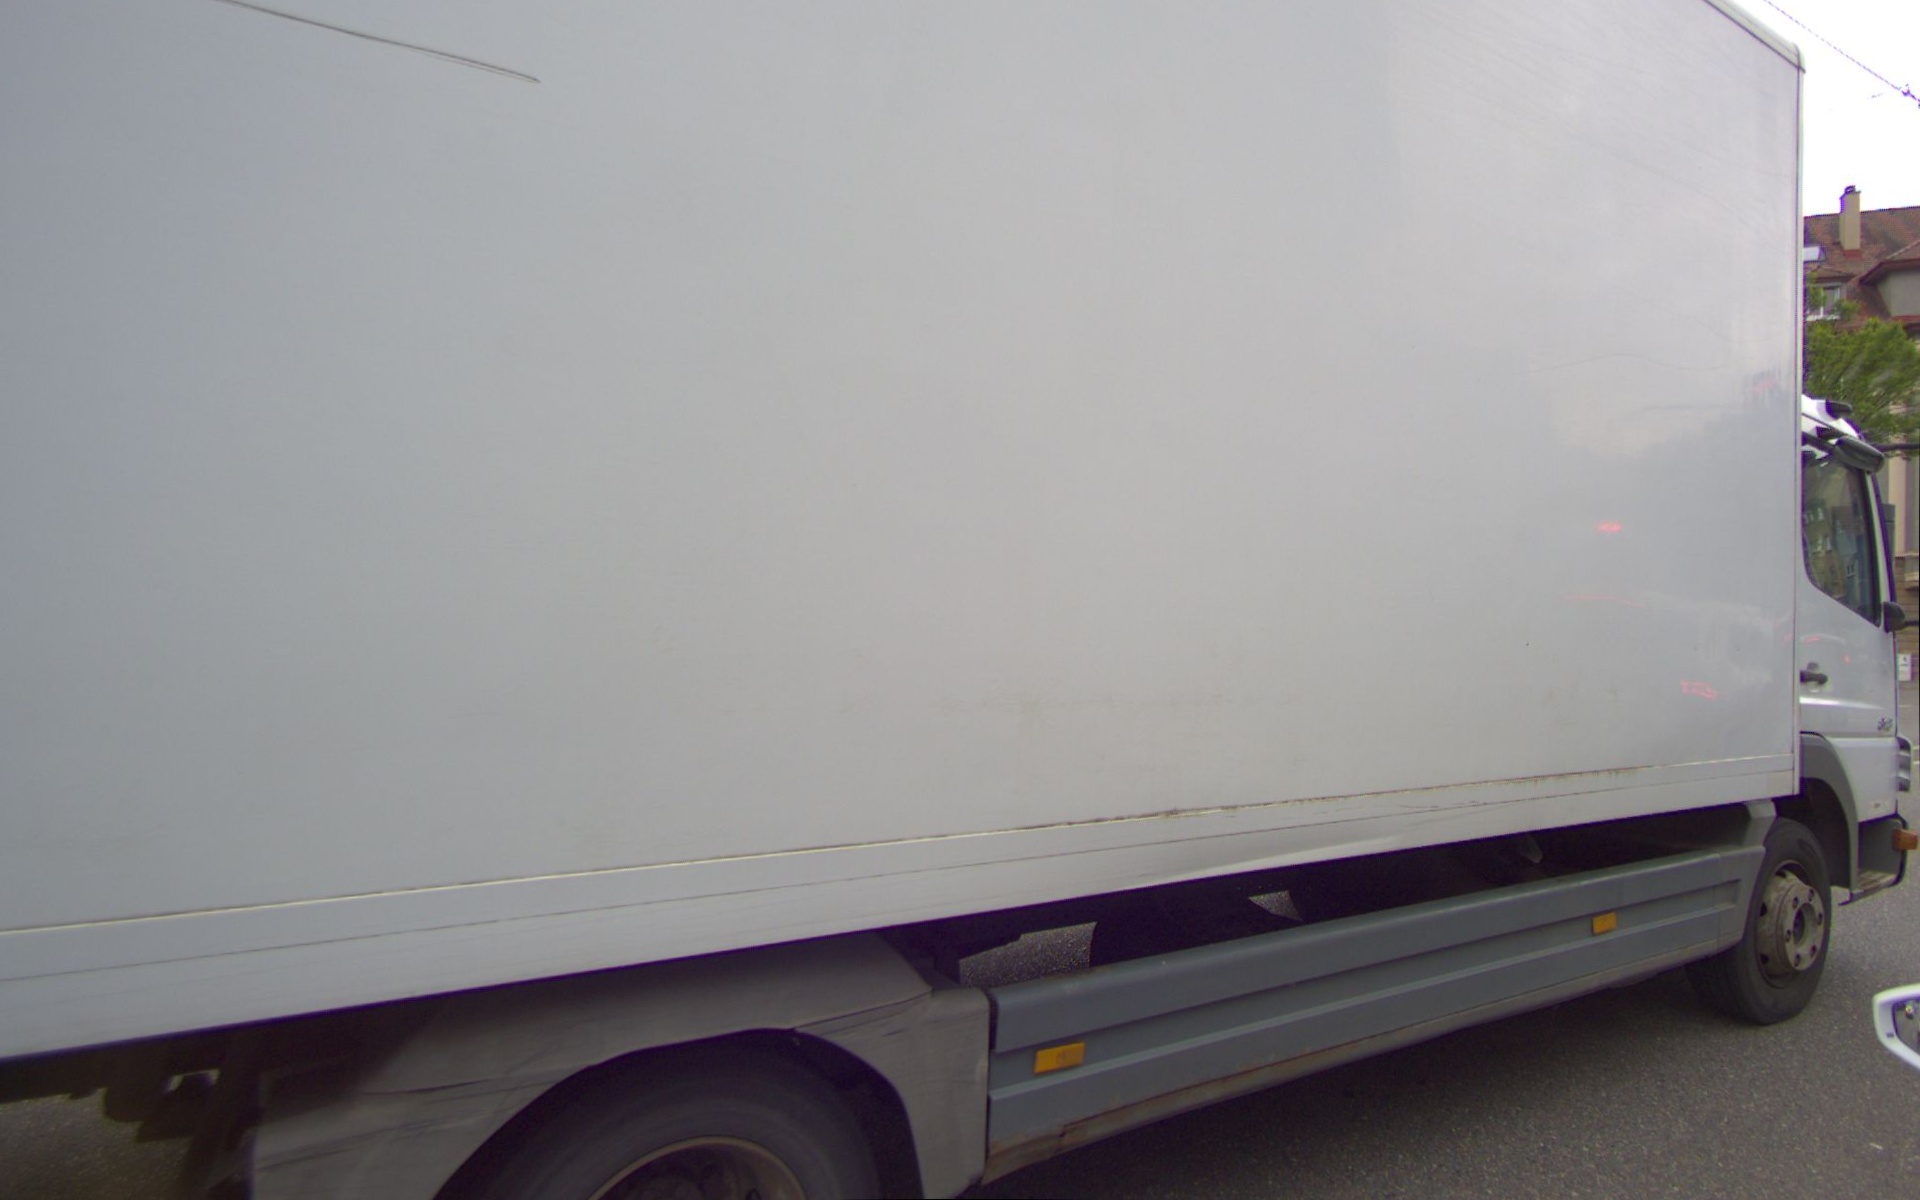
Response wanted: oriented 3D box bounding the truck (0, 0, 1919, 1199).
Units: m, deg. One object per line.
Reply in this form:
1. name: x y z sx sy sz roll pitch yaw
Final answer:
1. truck: 0.305 -0.299 3.361 7.970 3.623 2.755 1 0 -31

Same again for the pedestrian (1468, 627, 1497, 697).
1. pedestrian: 13.477 1.587 25.909 0.467 1.753 0.543 2 1 14

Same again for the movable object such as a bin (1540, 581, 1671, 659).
1. movable object such as a bin: 16.651 0.496 25.833 3.972 1.795 1.884 1 1 -43

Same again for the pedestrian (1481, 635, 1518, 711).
1. pedestrian: 12.680 1.705 23.608 0.539 1.722 0.557 1 1 -41

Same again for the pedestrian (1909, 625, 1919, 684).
1. pedestrian: 26.095 1.481 27.064 0.480 1.588 0.586 2 1 -30

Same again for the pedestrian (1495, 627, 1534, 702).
1. pedestrian: 13.721 1.582 24.860 0.605 1.785 0.573 2 1 5

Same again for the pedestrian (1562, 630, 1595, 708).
1. pedestrian: 14.378 1.585 23.369 0.533 1.753 0.593 3 1 26
